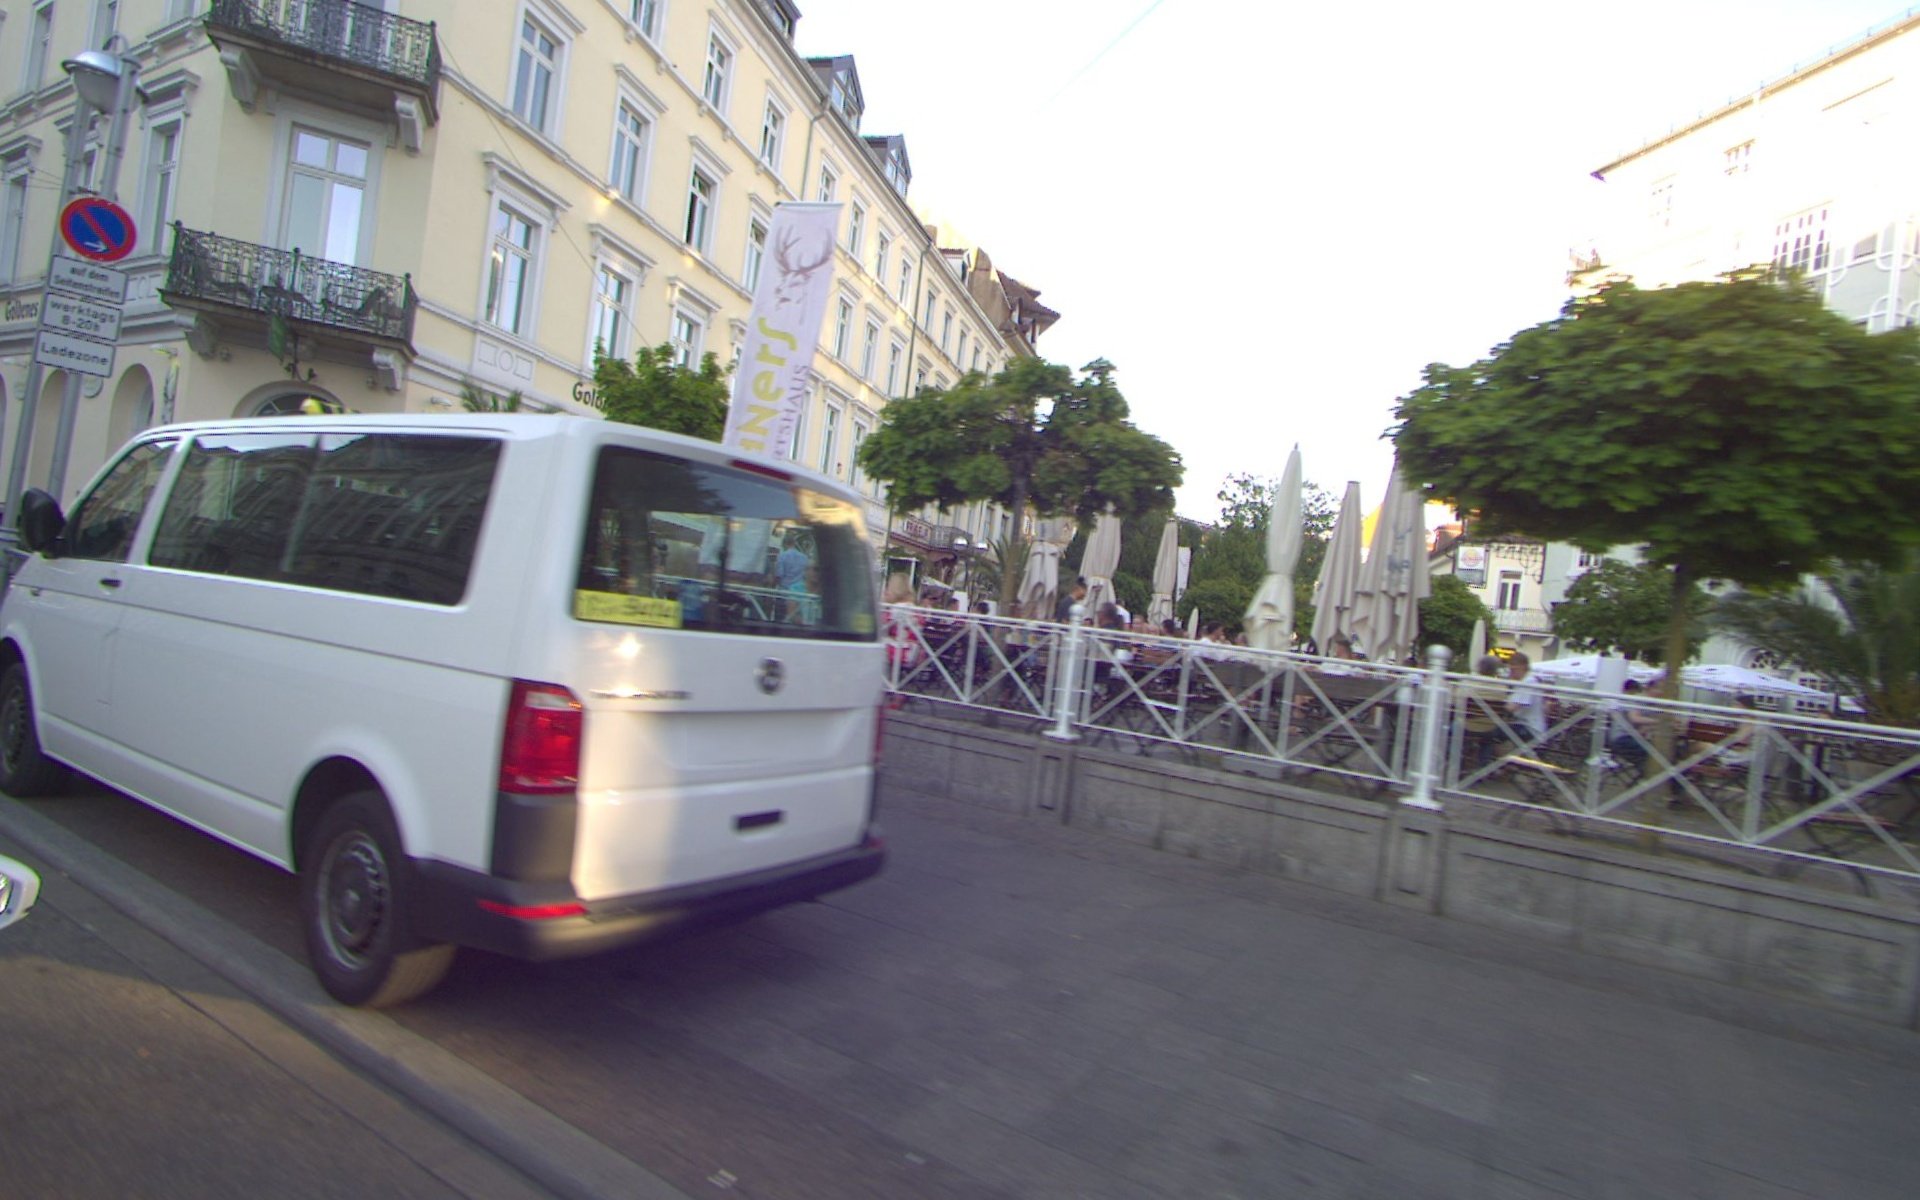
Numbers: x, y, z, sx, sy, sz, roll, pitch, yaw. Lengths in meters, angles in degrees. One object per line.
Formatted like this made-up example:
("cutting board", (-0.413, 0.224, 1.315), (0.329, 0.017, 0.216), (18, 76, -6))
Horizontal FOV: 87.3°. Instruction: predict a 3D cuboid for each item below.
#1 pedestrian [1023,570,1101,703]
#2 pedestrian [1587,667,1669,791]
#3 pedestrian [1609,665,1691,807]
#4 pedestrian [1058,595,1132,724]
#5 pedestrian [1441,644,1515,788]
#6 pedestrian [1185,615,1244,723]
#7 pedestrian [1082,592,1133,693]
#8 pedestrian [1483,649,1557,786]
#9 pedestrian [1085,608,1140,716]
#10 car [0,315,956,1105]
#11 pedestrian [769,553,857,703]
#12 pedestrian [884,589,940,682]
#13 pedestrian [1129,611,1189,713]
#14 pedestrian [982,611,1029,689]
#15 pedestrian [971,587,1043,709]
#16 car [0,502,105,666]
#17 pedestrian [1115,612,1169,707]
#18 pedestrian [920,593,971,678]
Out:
("pedestrian", (1.408, 0.501, 13.825), (0.719, 1.712, 0.590), (7, 0, 25))
("pedestrian", (7.958, 1.528, 12.015), (0.653, 1.349, 0.627), (7, 0, 32))
("pedestrian", (7.027, 1.372, 10.266), (0.523, 1.349, 0.490), (7, 0, 32))
("pedestrian", (1.503, 0.660, 11.136), (0.482, 1.349, 0.531), (7, 0, 32))
("pedestrian", (5.192, 1.154, 10.086), (0.482, 1.349, 0.531), (7, 0, 32))
("pedestrian", (3.488, 0.944, 13.768), (0.522, 1.393, 0.590), (7, 0, 25))
("pedestrian", (2.650, 0.767, 18.029), (0.580, 1.717, 0.532), (7, 0, 25))
("pedestrian", (5.917, 1.231, 10.619), (0.523, 1.349, 0.490), (7, 0, 32))
("pedestrian", (1.926, 0.785, 12.758), (0.522, 1.281, 0.491), (7, 0, 8))
("car", (-2.769, 0.137, 4.803), (5.129, 2.092, 1.855), (6, -1, 32))
("pedestrian", (-1.369, 0.269, 9.422), (0.481, 1.312, 0.532), (7, 0, 16))
("pedestrian", (-0.733, 0.548, 15.504), (0.523, 1.349, 0.490), (7, 0, 32))
("pedestrian", (2.787, 0.873, 14.067), (0.523, 1.349, 0.490), (7, 0, 32))
("pedestrian", (0.840, 0.920, 18.482), (0.523, 1.349, 0.490), (7, 0, 32))
("pedestrian", (0.549, 0.563, 11.734), (0.482, 1.349, 0.531), (7, 0, 32))
("car", (-10.295, -0.342, 9.746), (4.472, 1.407, 1.698), (6, 0, 32))
("pedestrian", (2.721, 0.890, 15.029), (0.482, 1.349, 0.531), (7, 0, 32))
("pedestrian", (-0.243, 0.602, 16.916), (0.523, 1.349, 0.490), (7, 0, 32))
